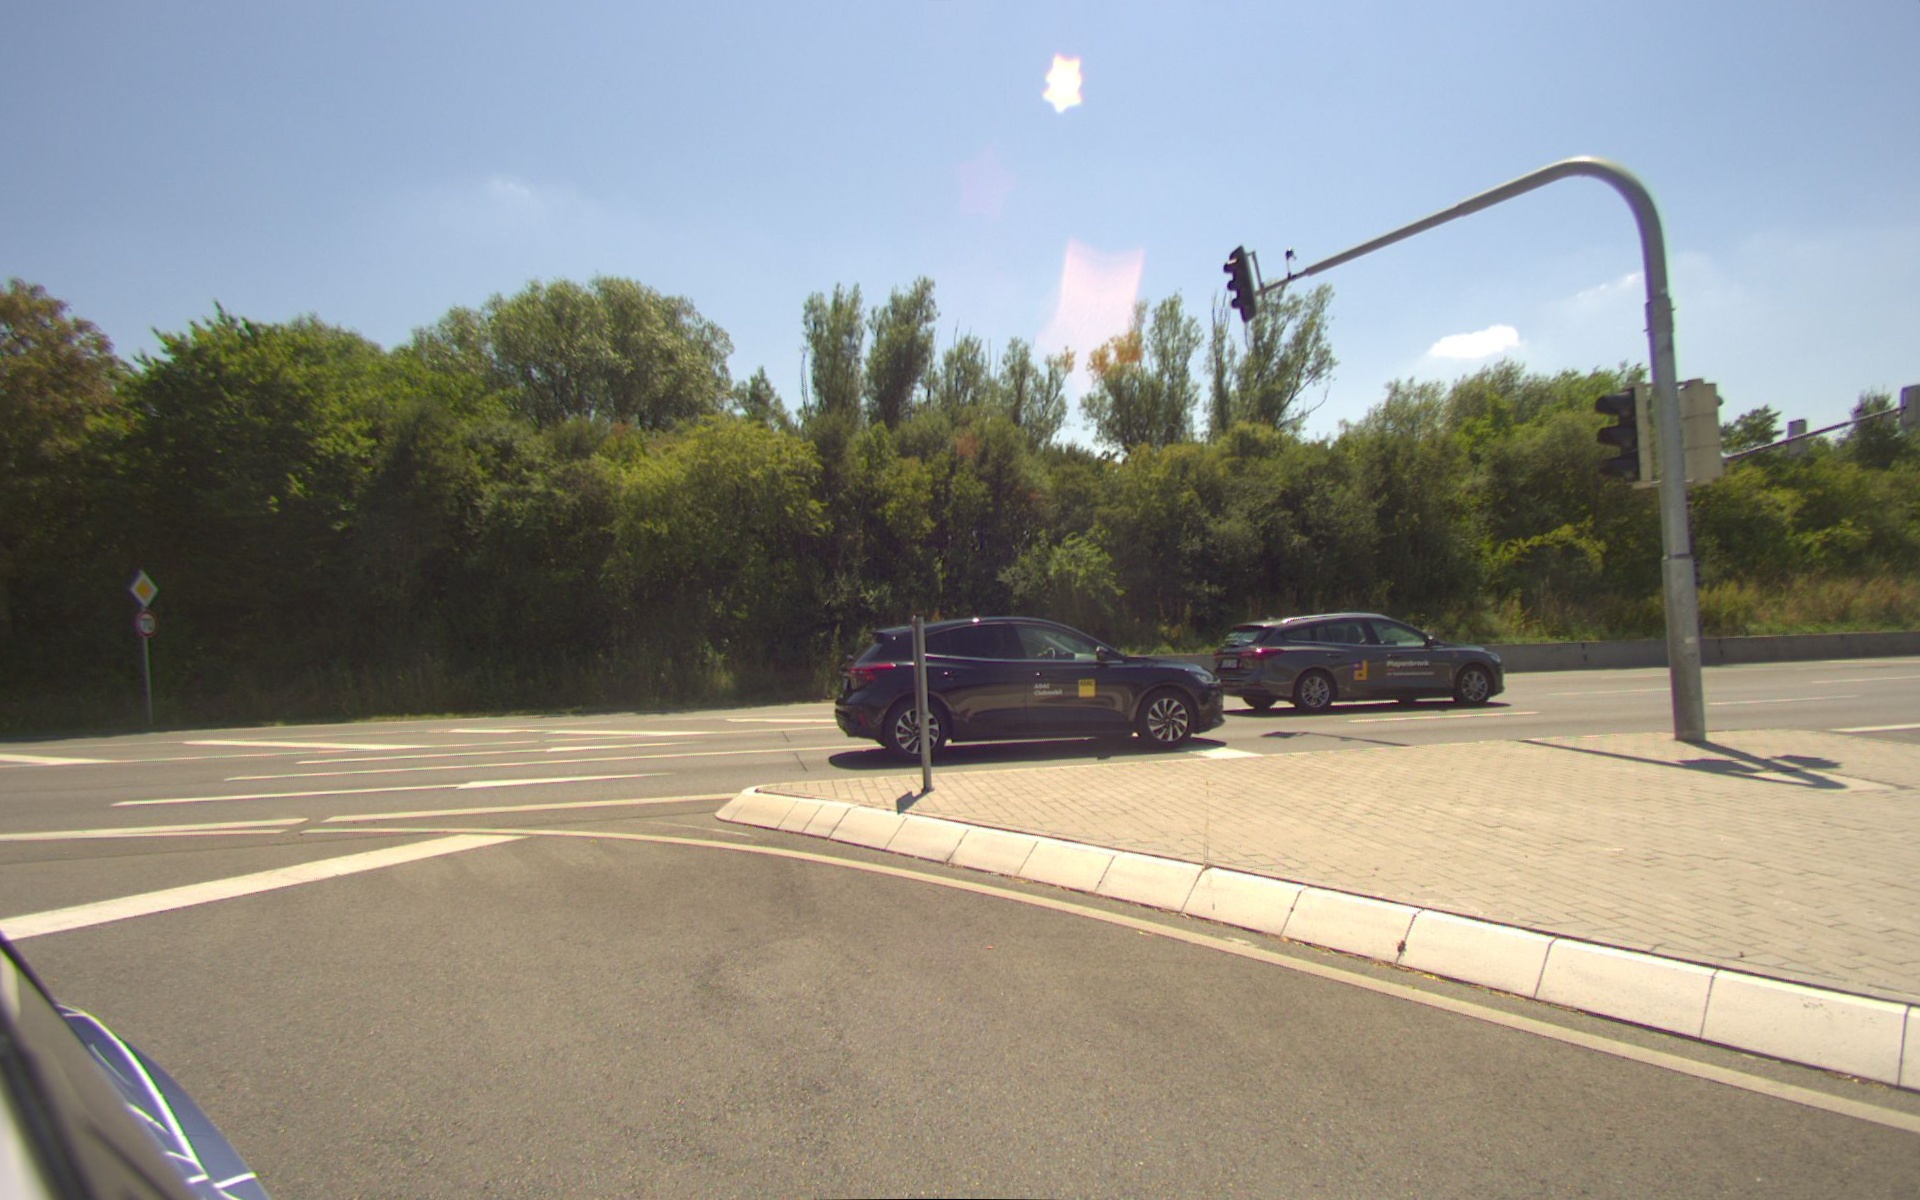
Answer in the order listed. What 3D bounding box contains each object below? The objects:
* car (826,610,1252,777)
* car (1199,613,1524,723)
[{"bbox_3d":[0.727,0.946,10.936,4.230,1.453,1.742,-2,-3,-8],"label":"car"},{"bbox_3d":[6.112,1.011,15.602,4.321,1.453,1.743,-1,-3,-10],"label":"car"}]
